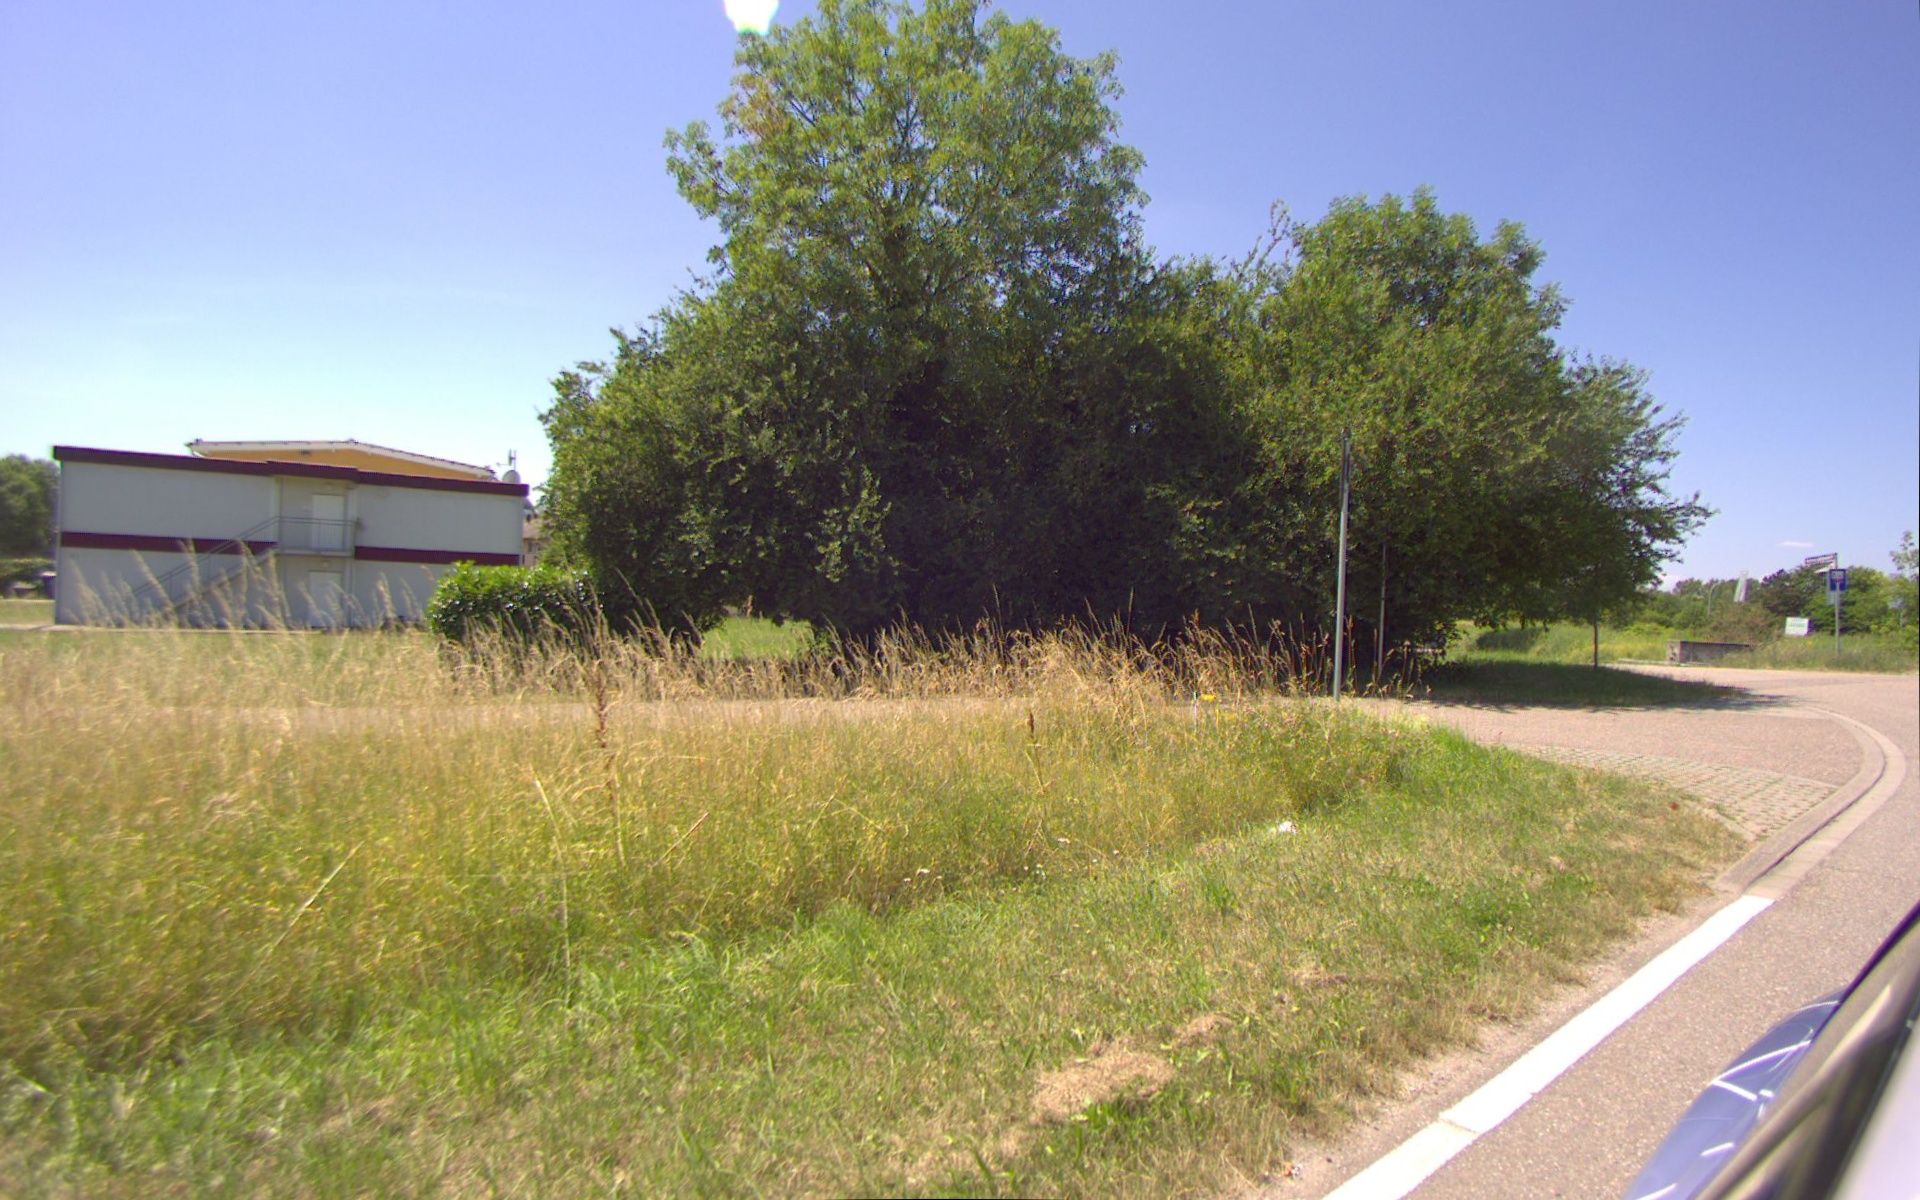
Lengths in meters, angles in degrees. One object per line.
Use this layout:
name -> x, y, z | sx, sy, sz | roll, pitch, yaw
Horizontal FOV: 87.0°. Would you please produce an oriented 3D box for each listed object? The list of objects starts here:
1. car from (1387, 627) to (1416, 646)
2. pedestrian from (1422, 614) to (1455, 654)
car -> 43.037, 3.576, 98.741 | 1.973, 1.644, 4.489 | 3, 0, 16
pedestrian -> 18.565, 1.315, 39.271 | 0.832, 1.410, 0.684 | 5, 0, -24
